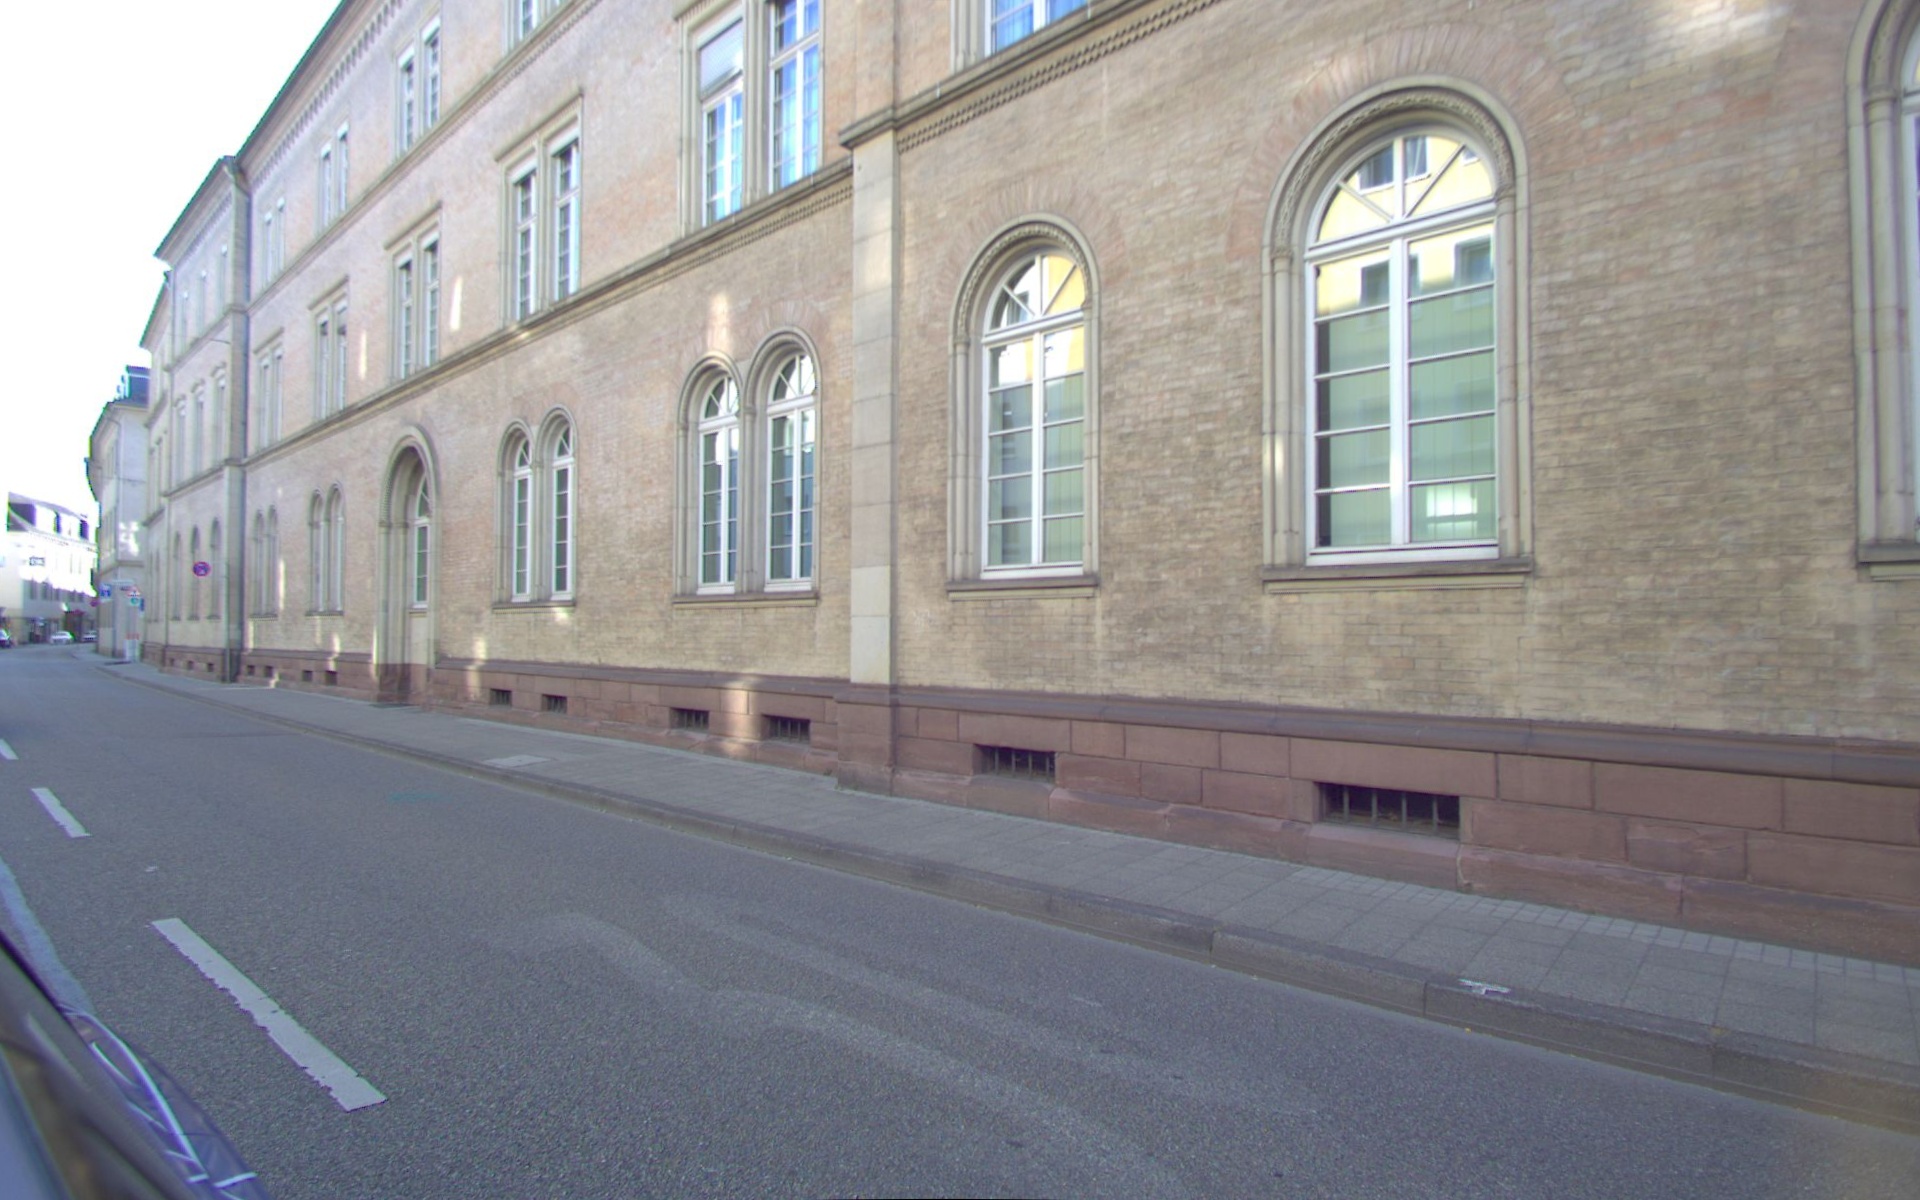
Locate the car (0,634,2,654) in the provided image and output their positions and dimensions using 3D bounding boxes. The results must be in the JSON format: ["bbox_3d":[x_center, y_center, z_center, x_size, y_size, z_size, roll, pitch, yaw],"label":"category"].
[{"bbox_3d":[-86.619,3.938,89.935,1.969,1.665,4.235,-1,0,-41],"label":"car"}]

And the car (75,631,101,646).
[{"bbox_3d":[-109.237,4.823,126.810,1.966,1.665,4.240,-1,0,-33],"label":"car"}]

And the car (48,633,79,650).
[{"bbox_3d":[-102.863,4.741,116.158,1.966,1.665,4.240,-1,0,-33],"label":"car"}]
